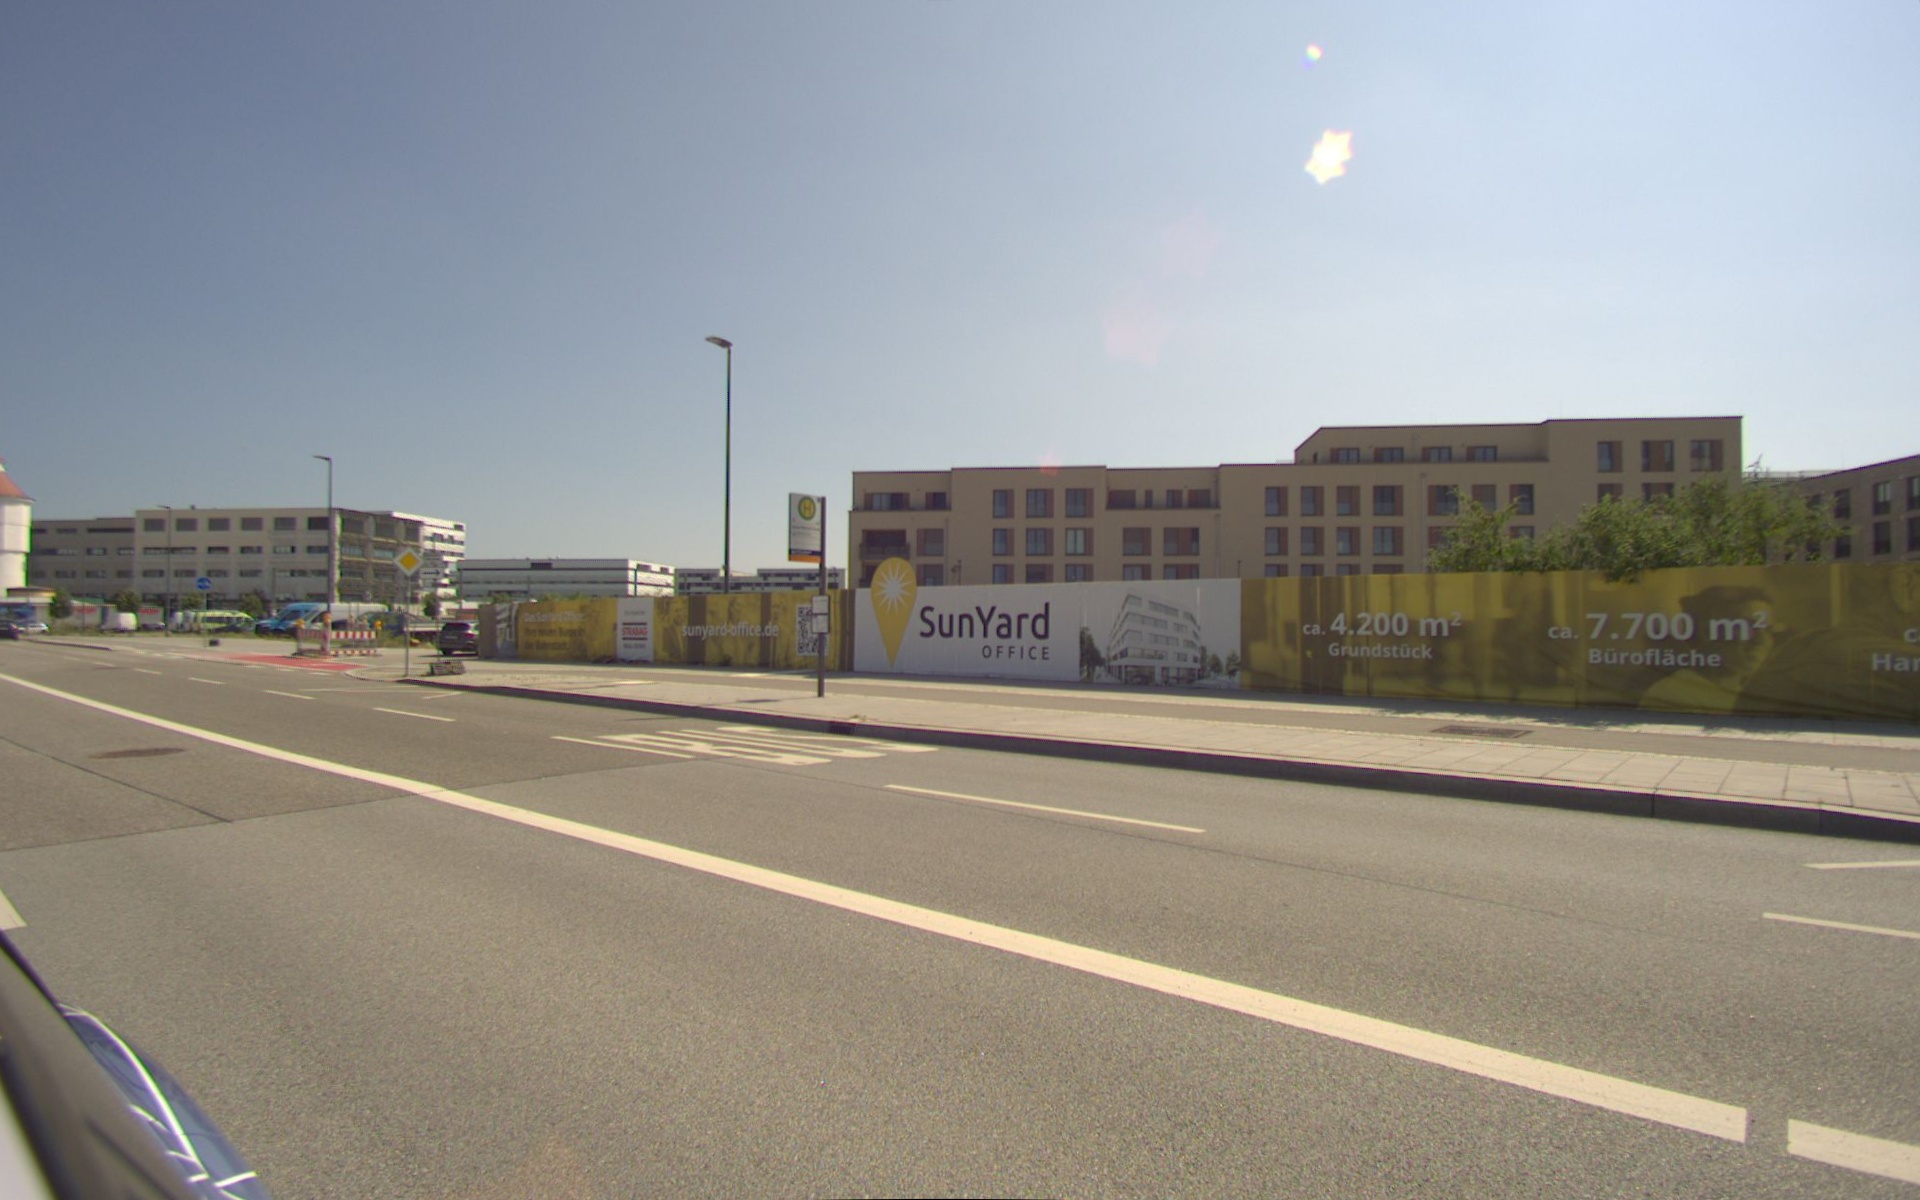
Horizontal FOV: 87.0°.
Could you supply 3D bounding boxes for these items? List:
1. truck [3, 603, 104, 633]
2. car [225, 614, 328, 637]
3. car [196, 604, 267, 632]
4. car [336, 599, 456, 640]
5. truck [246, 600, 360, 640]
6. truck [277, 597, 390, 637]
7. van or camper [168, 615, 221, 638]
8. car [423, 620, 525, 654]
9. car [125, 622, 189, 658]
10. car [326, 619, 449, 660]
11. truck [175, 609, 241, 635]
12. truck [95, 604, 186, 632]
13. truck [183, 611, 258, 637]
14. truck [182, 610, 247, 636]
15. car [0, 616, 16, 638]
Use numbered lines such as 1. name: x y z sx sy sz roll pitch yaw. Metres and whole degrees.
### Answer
1. truck: -134.706 2.598 150.645 3.280 4.098 10.898 0 0 23
2. car: -47.147 1.743 69.924 2.104 1.485 5.597 -2 -1 38
3. car: -52.711 1.338 73.221 3.939 1.918 1.829 2 -3 -42
4. car: -31.666 1.129 57.020 2.391 2.190 5.392 -1 -3 37
5. truck: -43.989 1.423 67.895 2.273 2.563 5.942 -2 -3 40
6. truck: -38.875 1.119 62.944 2.272 2.381 5.512 -1 -3 39
7. van or camper: -95.062 3.290 125.693 2.258 2.682 4.850 -2 -1 40
8. car: -20.316 1.559 42.531 1.975 1.328 4.240 0 -2 5
9. car: -36.179 1.774 45.559 3.677 1.488 1.590 0 -3 42
10. car: -33.416 2.247 59.169 2.396 2.182 5.817 -2 -1 43
11. truck: -91.657 2.618 123.381 2.569 2.923 6.081 0 1 41
12. truck: -129.865 2.777 160.585 3.330 4.307 10.842 0 0 29
13. truck: -85.981 2.747 117.794 2.599 2.847 6.573 -1 -1 37
14. truck: -88.267 2.653 119.821 2.568 2.846 5.777 0 1 39
15. car: -62.934 1.727 65.849 4.453 1.362 1.686 -1 -2 41
